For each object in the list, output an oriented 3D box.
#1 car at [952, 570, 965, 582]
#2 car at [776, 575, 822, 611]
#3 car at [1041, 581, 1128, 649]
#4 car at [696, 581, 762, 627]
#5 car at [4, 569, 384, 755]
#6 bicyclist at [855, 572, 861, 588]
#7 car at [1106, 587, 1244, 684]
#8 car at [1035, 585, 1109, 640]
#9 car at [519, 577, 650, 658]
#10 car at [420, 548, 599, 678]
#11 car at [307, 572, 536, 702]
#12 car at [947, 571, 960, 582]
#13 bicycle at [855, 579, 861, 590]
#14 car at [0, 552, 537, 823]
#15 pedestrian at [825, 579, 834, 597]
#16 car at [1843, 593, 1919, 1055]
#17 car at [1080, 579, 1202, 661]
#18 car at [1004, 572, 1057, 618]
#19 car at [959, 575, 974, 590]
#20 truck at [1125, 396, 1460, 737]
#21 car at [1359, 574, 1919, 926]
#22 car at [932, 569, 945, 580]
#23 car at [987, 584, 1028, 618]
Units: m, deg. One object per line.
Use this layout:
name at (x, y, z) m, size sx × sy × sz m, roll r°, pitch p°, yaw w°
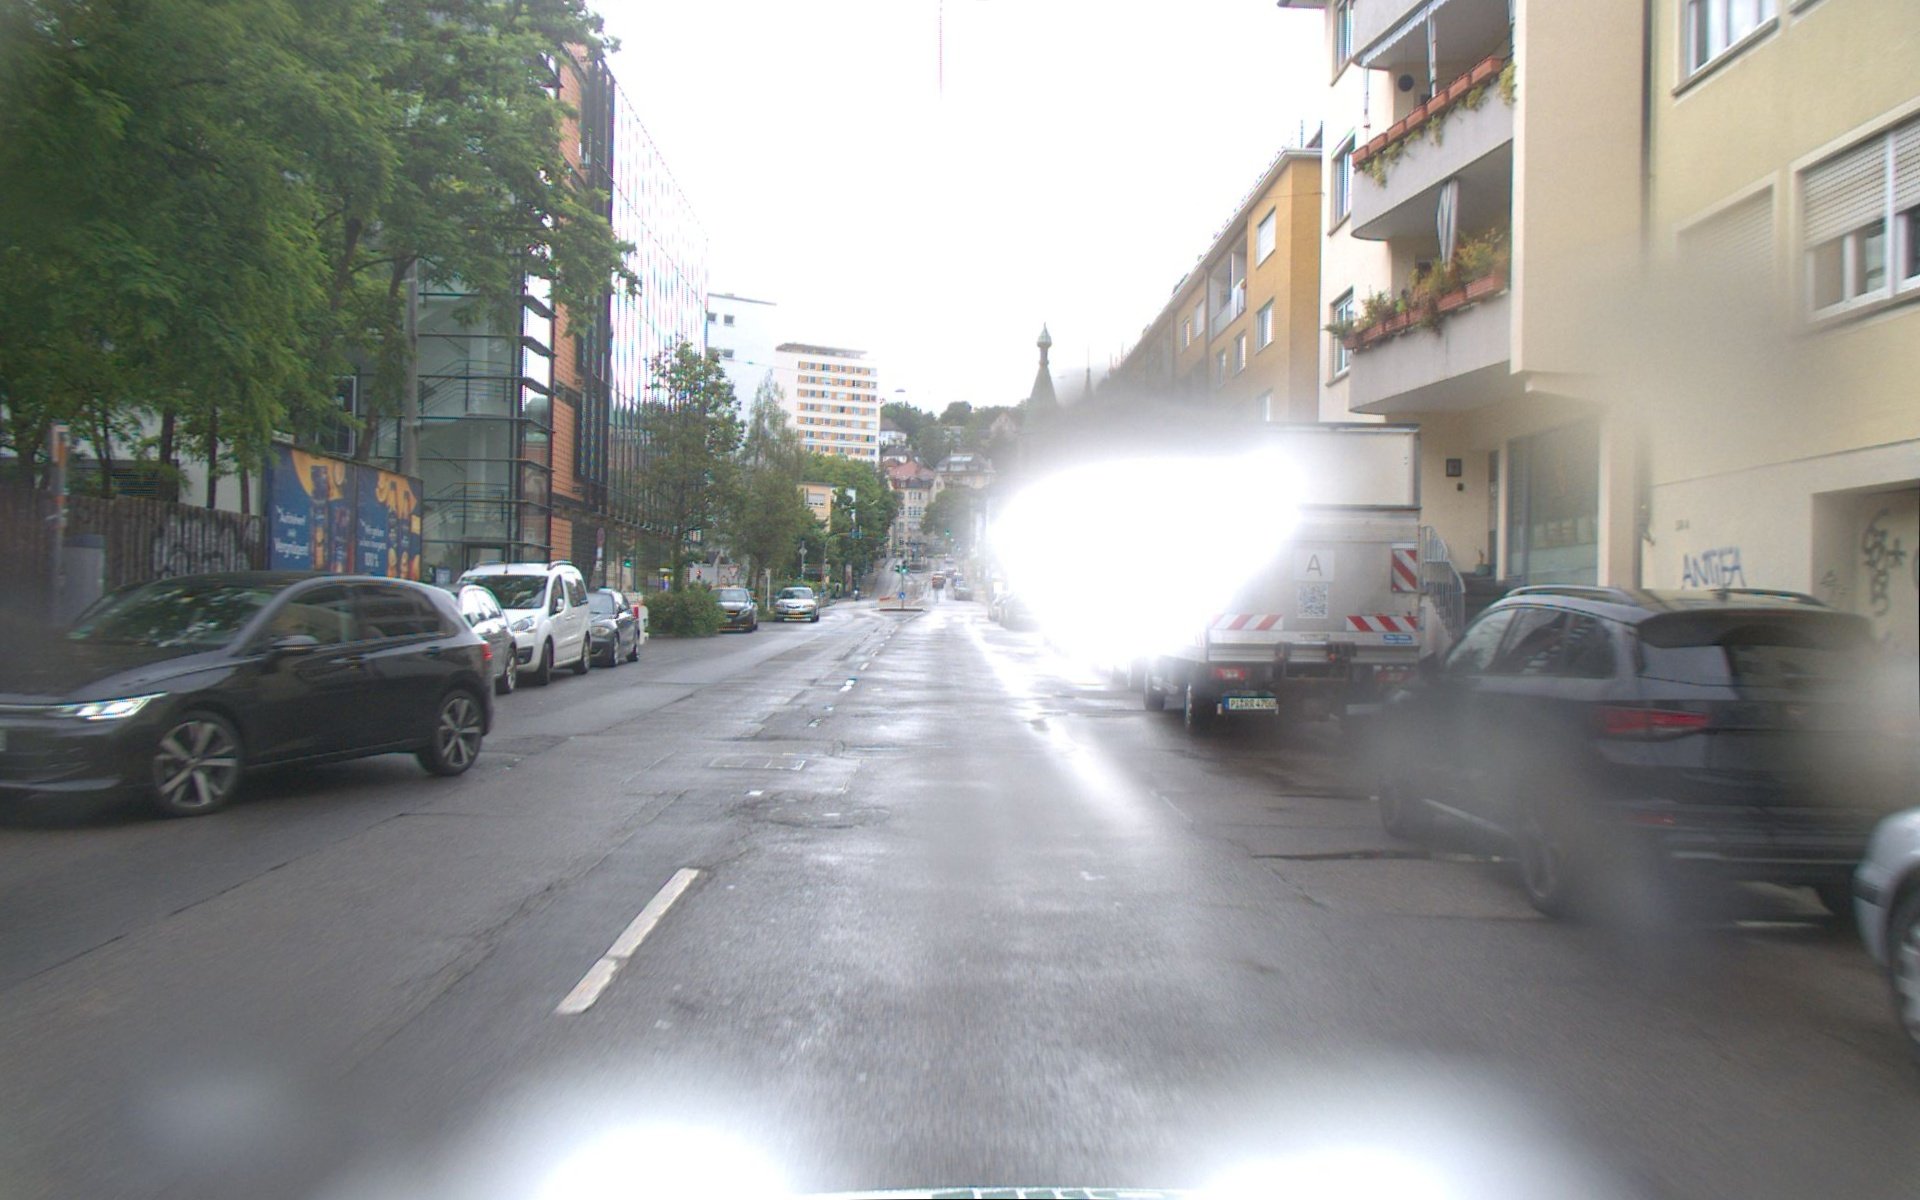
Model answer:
car at (-0.220, -3.394, 236.244) m, size 1.854 × 1.536 × 3.999 m, roll 2°, pitch 0°, yaw -1°
car at (-6.832, -0.257, 70.328) m, size 1.675 × 1.476 × 4.292 m, roll 0°, pitch 0°, yaw -2°
car at (2.920, 0.342, 39.499) m, size 1.630 × 1.528 × 3.919 m, roll 1°, pitch 0°, yaw -2°
car at (-7.640, 0.139, 55.007) m, size 1.767 × 1.476 × 4.655 m, roll 0°, pitch 0°, yaw -3°
car at (-6.543, 0.482, 14.627) m, size 1.648 × 1.423 × 3.909 m, roll 0°, pitch 0°, yaw -2°
bicyclist at (-10.648, -2.064, 172.590) m, size 0.663 × 1.690 × 0.649 m, roll 1°, pitch -1°, yaw -4°
car at (3.418, 0.520, 26.909) m, size 1.629 × 1.446 × 4.041 m, roll 1°, pitch 0°, yaw -1°
car at (3.058, 0.329, 45.841) m, size 1.630 × 1.424 × 3.919 m, roll 1°, pitch 0°, yaw -2°
car at (-6.927, 0.305, 30.913) m, size 1.689 × 1.400 × 4.341 m, roll 0°, pitch 0°, yaw -3°
car at (-6.865, 0.191, 25.648) m, size 1.689 × 1.832 × 4.342 m, roll 0°, pitch 0°, yaw -2°
car at (-6.718, 0.433, 21.106) m, size 1.648 × 1.488 × 4.275 m, roll 0°, pitch 0°, yaw -2°
car at (-1.036, -3.583, 252.534) m, size 1.870 × 1.536 × 3.999 m, roll 2°, pitch 0°, yaw -1°
bicycle at (-10.658, -1.641, 172.609) m, size 0.663 × 1.127 × 1.799 m, roll 1°, pitch 0°, yaw -4°
car at (-4.809, 0.459, 11.186) m, size 1.767 × 1.440 × 4.386 m, roll 1°, pitch 0°, yaw 16°
pedestrian at (-14.182, -1.306, 179.775) m, size 0.870 × 1.926 × 0.921 m, roll 1°, pitch 0°, yaw -7°
car at (4.024, 0.766, 3.903) m, size 1.629 × 1.526 × 4.097 m, roll 1°, pitch 0°, yaw -1°
car at (3.402, 0.389, 31.716) m, size 1.630 × 1.446 × 3.918 m, roll 1°, pitch -1°, yaw -4°
car at (2.731, -0.202, 65.056) m, size 1.781 × 1.681 × 4.075 m, roll 2°, pitch 0°, yaw -1°
car at (0.831, -2.127, 199.910) m, size 1.696 × 1.682 × 4.001 m, roll 1°, pitch 1°, yaw 2°
truck at (3.537, -0.318, 19.354) m, size 2.419 × 3.228 × 7.035 m, roll 1°, pitch 0°, yaw -1°
car at (3.677, 0.678, 9.651) m, size 1.629 × 1.600 × 4.097 m, roll 1°, pitch 0°, yaw -1°
car at (-3.238, -3.738, 246.056) m, size 1.869 × 1.536 × 3.999 m, roll 2°, pitch 0°, yaw -1°
car at (2.325, 0.045, 82.481) m, size 1.781 × 1.549 × 4.075 m, roll 2°, pitch 0°, yaw -1°
